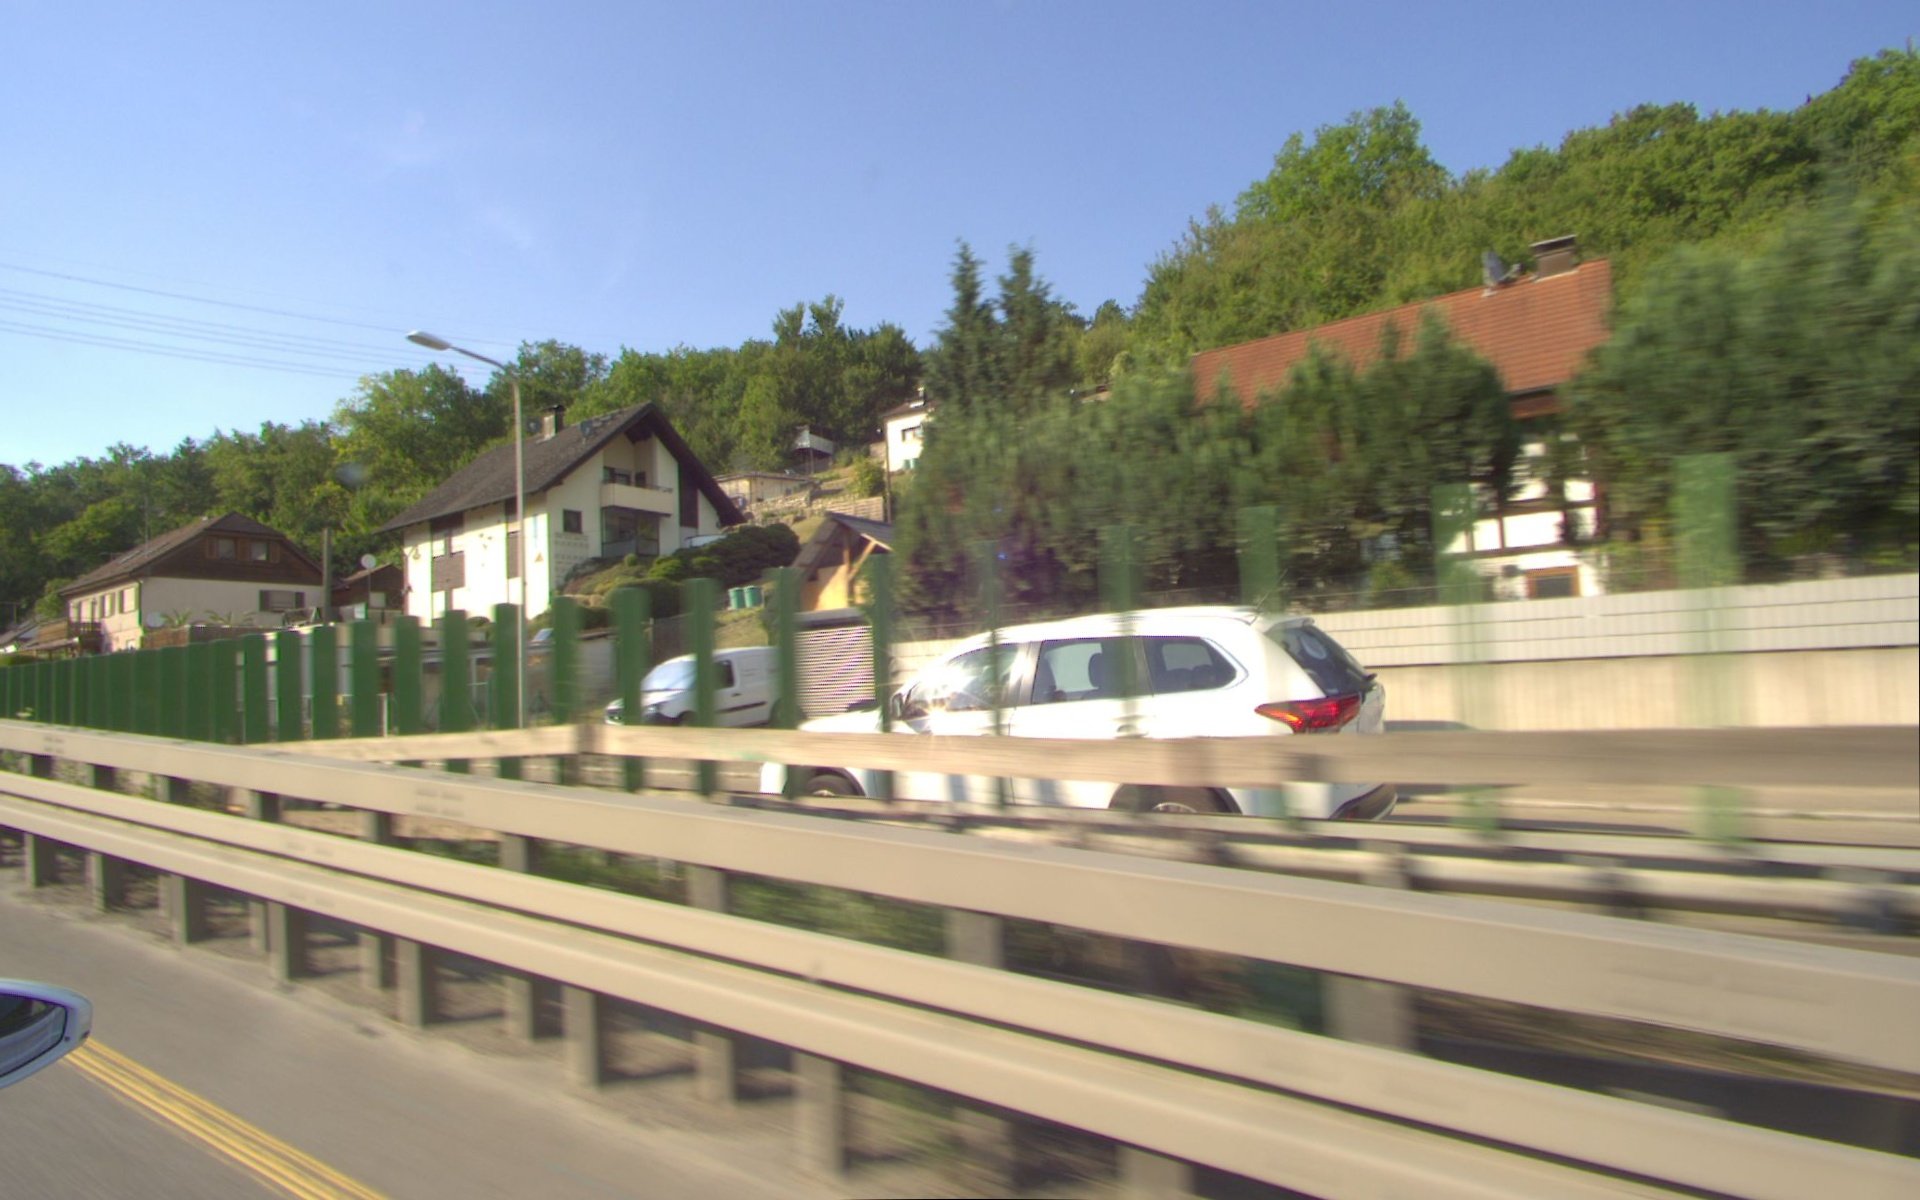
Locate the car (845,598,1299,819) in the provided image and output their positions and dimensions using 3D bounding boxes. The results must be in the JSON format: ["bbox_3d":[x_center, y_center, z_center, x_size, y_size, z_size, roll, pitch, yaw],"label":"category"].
[{"bbox_3d":[1.073,1.096,10.525,4.379,1.893,1.804,-4,-4,32],"label":"car"}]

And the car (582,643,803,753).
[{"bbox_3d":[-5.317,1.919,20.397,1.826,1.759,4.121,-4,-1,32],"label":"car"}]

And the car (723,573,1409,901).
[{"bbox_3d":[0.544,0.878,7.136,4.587,1.678,1.694,-4,-4,34],"label":"car"}]
